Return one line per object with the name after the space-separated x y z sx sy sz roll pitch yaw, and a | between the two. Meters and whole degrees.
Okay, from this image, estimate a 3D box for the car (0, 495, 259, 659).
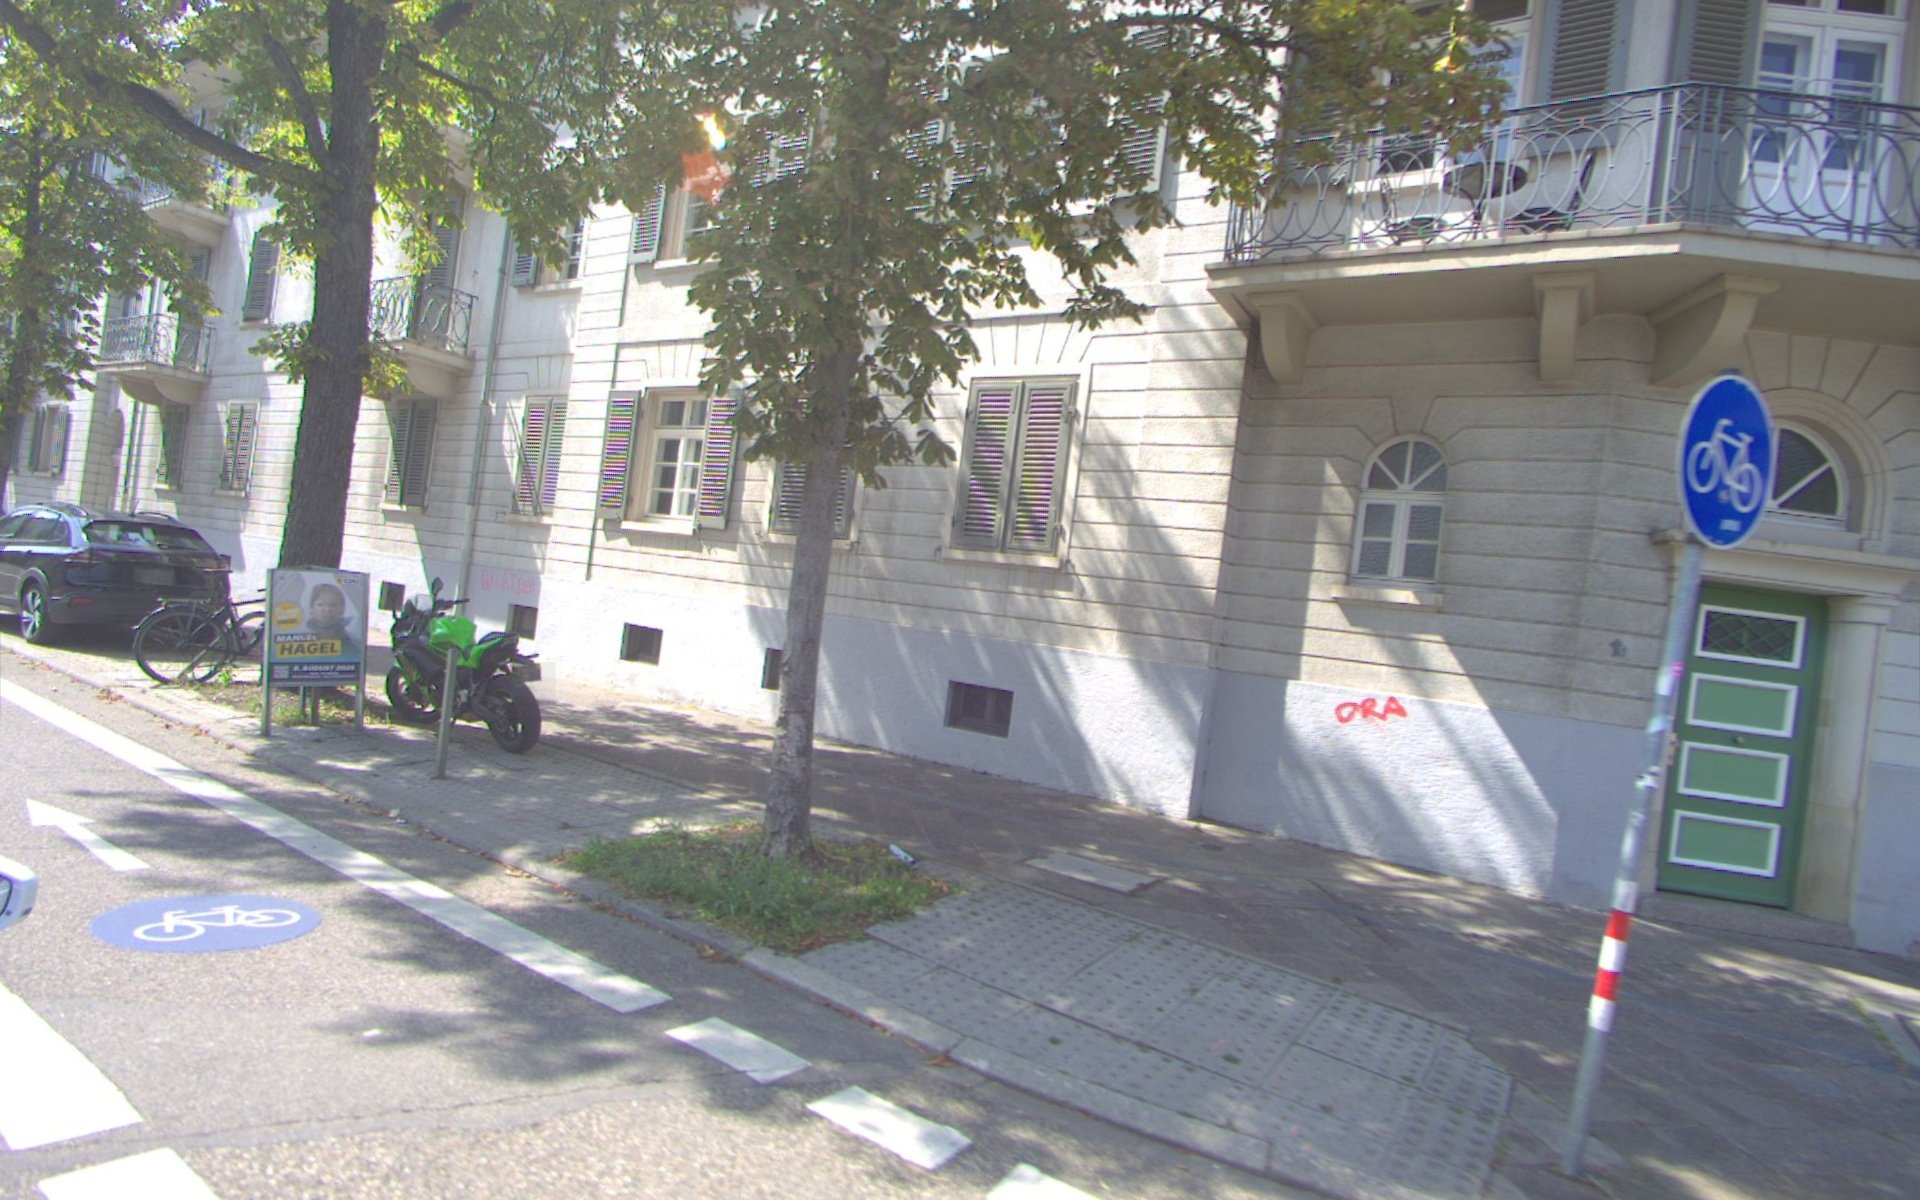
-10.459 -0.355 11.984 4.359 1.525 1.666 7 0 30 | car

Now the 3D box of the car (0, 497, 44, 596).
-16.795 -1.094 16.125 4.672 1.468 1.785 7 -1 31 | car

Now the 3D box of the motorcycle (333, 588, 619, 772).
-4.053 0.618 8.340 2.456 1.124 0.828 7 -1 31 | motorcycle

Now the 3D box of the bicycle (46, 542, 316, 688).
-7.083 0.174 9.249 0.645 1.136 1.758 7 -1 33 | bicycle
